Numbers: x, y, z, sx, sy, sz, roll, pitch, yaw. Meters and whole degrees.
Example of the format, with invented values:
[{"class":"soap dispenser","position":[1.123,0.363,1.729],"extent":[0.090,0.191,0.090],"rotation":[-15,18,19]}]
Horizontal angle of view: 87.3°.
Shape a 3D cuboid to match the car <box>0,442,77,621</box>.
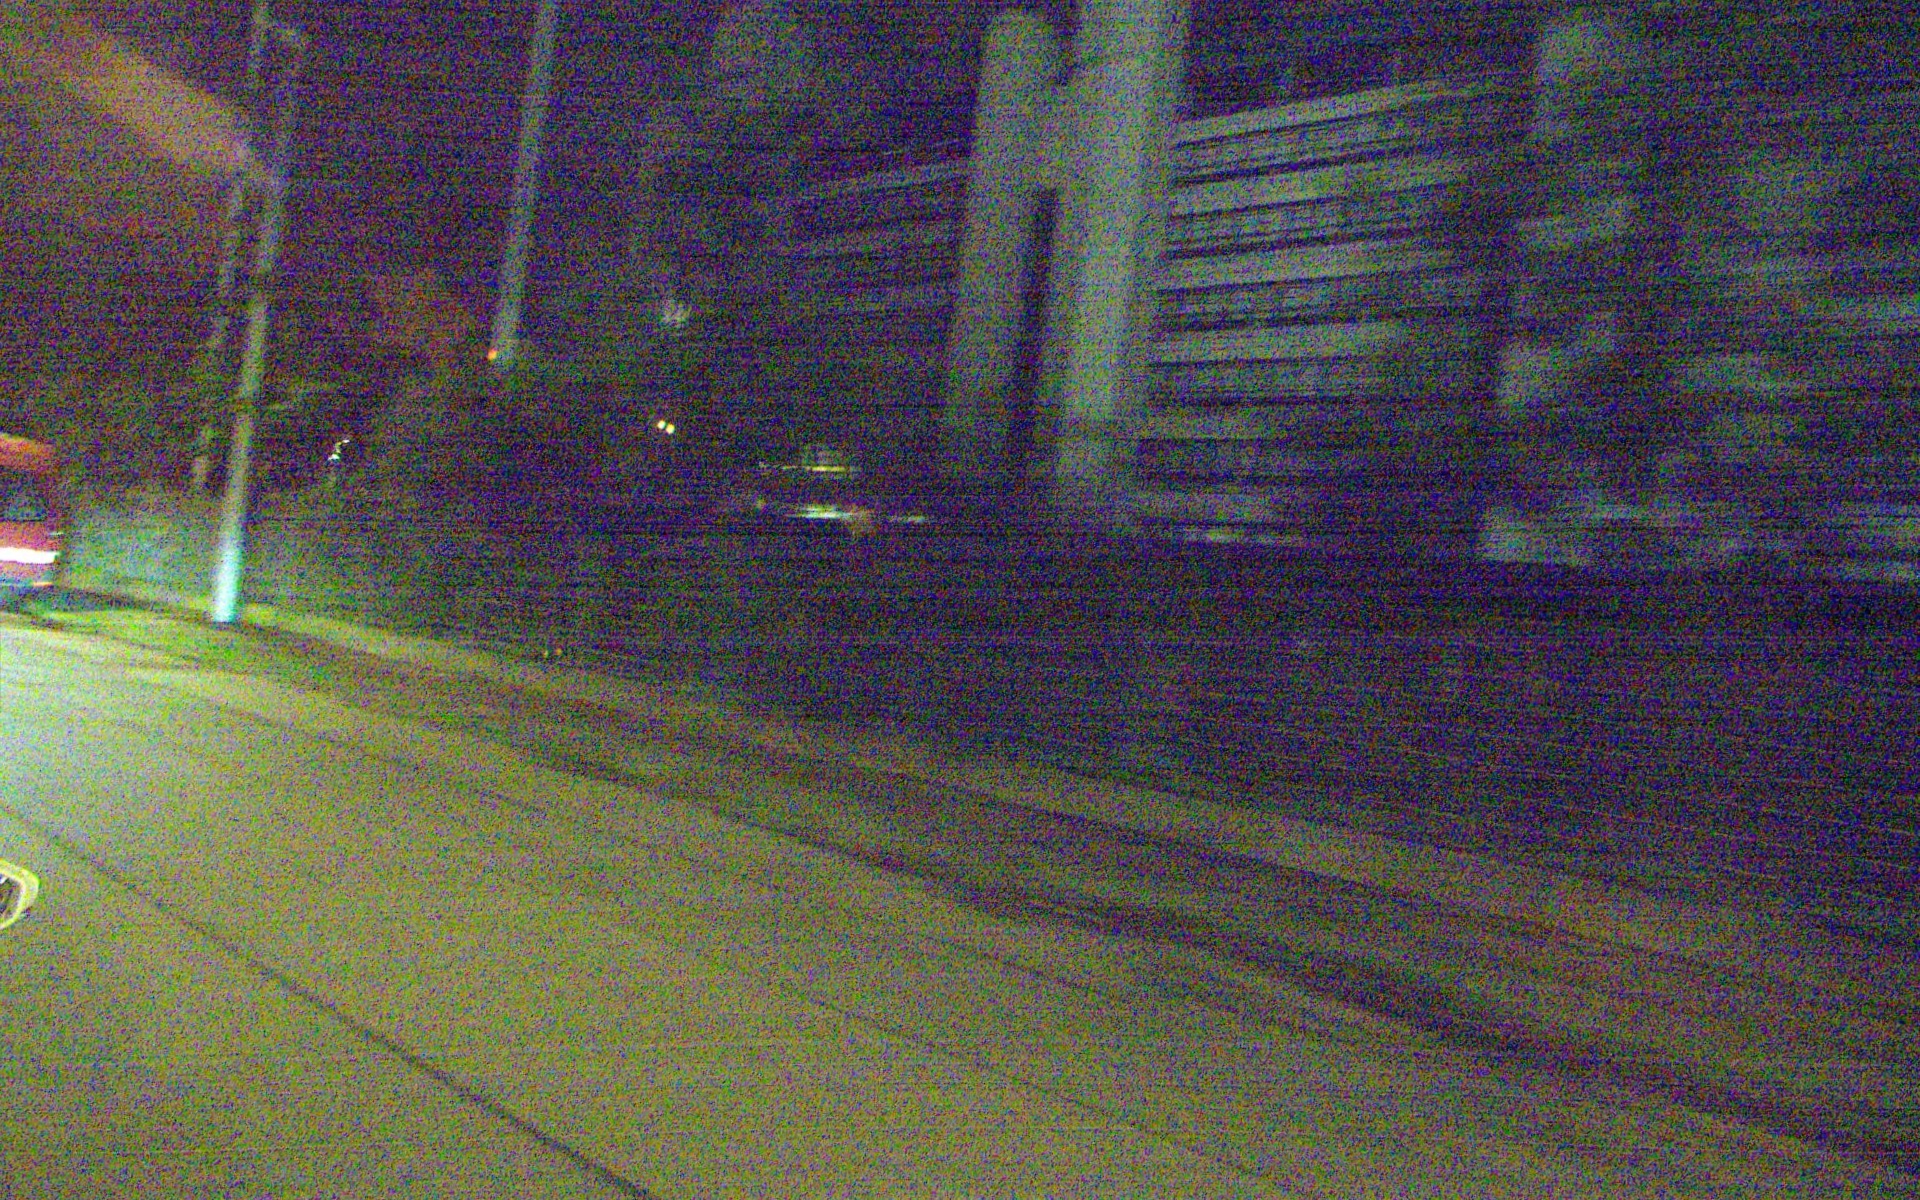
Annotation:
[{"class":"car","position":[-16.866,-1.325,16.199],"extent":[5.923,2.577,1.998],"rotation":[6,-2,30]}]
